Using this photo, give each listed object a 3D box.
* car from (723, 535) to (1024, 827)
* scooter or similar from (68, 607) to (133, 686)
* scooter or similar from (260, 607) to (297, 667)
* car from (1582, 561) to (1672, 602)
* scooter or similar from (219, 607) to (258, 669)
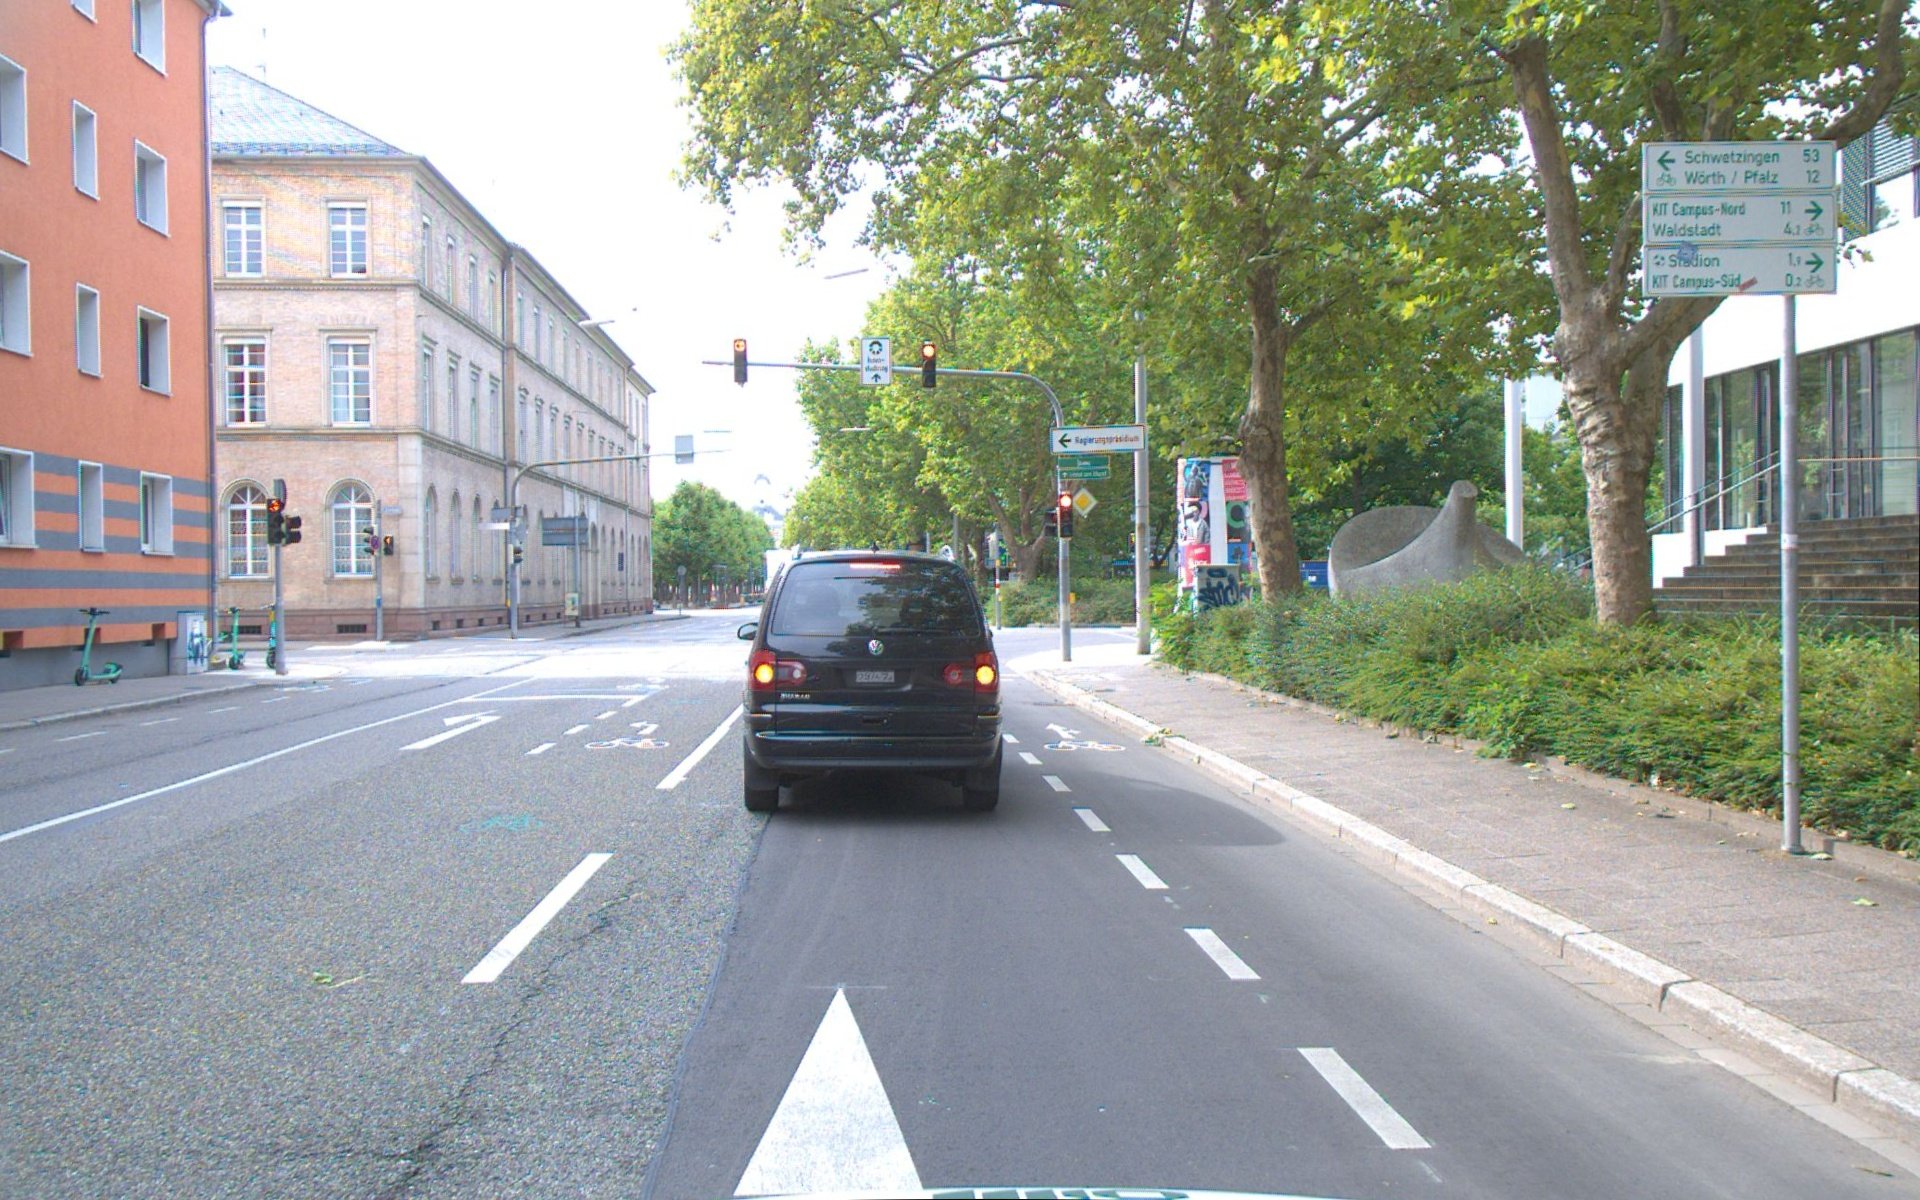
[{"bbox_3d":[-0.576,0.467,12.500,1.836,1.775,4.573,-1,1,-1],"label":"car"},{"bbox_3d":[-13.453,0.717,25.913,0.370,1.204,1.388,-1,-1,-4],"label":"scooter or similar"},{"bbox_3d":[-13.463,0.727,32.685,0.371,1.164,1.140,-1,-1,-7],"label":"scooter or similar"},{"bbox_3d":[28.791,-0.814,71.524,1.923,1.680,4.148,-1,1,-6],"label":"car"},{"bbox_3d":[-14.006,0.729,32.102,0.371,1.167,1.140,-1,-1,-7],"label":"scooter or similar"}]
